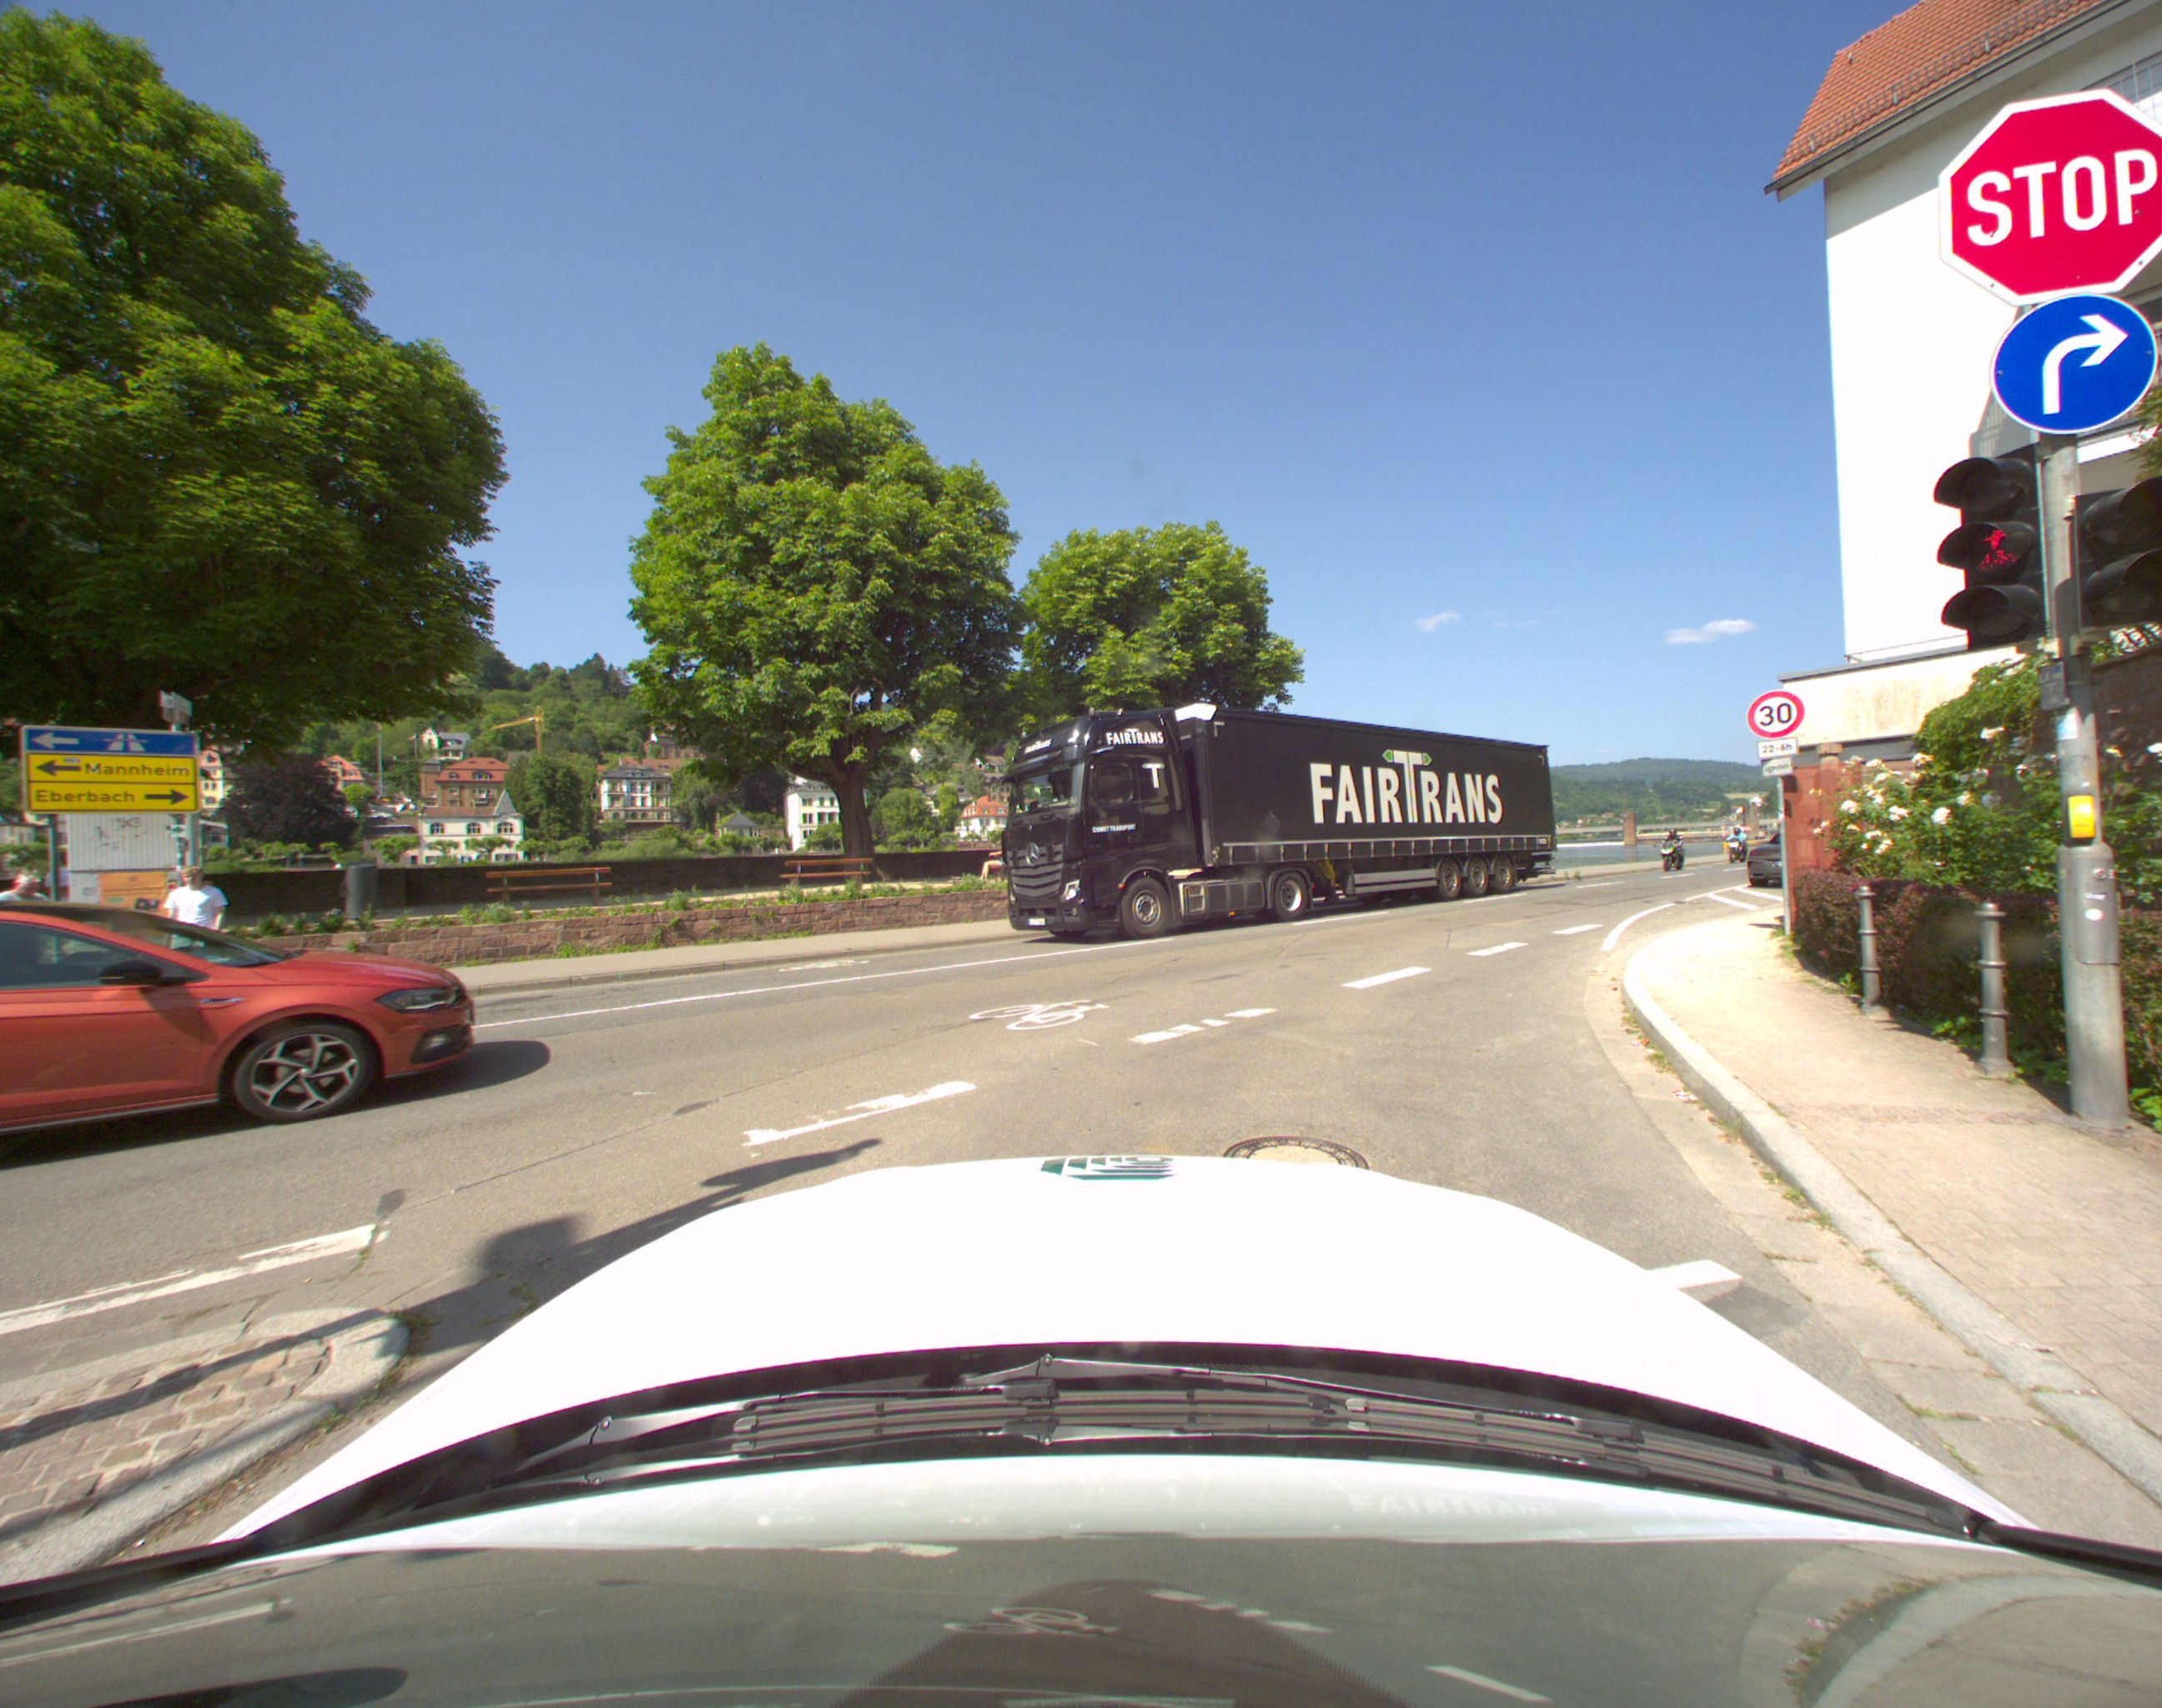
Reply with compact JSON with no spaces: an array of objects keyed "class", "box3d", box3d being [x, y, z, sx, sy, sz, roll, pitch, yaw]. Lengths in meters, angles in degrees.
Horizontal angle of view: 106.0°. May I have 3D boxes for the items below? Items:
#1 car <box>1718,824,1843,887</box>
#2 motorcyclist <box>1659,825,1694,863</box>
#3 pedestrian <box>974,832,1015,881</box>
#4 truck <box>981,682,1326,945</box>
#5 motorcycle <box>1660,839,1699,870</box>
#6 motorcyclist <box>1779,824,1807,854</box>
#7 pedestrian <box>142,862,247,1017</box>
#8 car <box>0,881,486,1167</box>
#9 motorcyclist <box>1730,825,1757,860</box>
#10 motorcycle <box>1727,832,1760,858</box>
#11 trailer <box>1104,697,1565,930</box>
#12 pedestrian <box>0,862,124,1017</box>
[{"class":"car","box3d":[17.378,-0.004,20.193,3.758,1.399,1.674,-2,2,-38]},{"class":"motorcyclist","box3d":[23.774,-0.411,32.502,0.996,1.460,0.772,-2,-2,-37]},{"class":"pedestrian","box3d":[-2.285,0.073,21.530,0.803,1.211,0.708,0,-5,-32]},{"class":"truck","box3d":[1.510,-0.655,15.490,5.960,4.071,2.807,-2,-2,-37]},{"class":"motorcycle","box3d":[23.958,0.003,32.595,2.103,1.123,0.628,-2,-3,-38]},{"class":"motorcyclist","box3d":[34.105,-0.728,39.008,0.804,1.366,0.780,-2,-1,-37]},{"class":"pedestrian","box3d":[-10.883,1.016,10.019,0.708,1.802,0.574,-2,-1,-33]},{"class":"car","box3d":[-6.202,0.976,5.035,4.036,1.405,1.711,-2,0,-37]},{"class":"motorcyclist","box3d":[30.624,-0.527,37.637,0.996,1.525,0.658,-2,-2,-37]},{"class":"motorcycle","box3d":[30.640,-0.425,37.639,2.103,1.123,0.628,-2,-3,-38]},{"class":"trailer","box3d":[6.950,-0.869,19.609,13.836,4.104,2.810,-2,-2,-37]},{"class":"pedestrian","box3d":[-12.414,0.998,9.919,0.691,1.769,0.712,-2,0,-23]}]
